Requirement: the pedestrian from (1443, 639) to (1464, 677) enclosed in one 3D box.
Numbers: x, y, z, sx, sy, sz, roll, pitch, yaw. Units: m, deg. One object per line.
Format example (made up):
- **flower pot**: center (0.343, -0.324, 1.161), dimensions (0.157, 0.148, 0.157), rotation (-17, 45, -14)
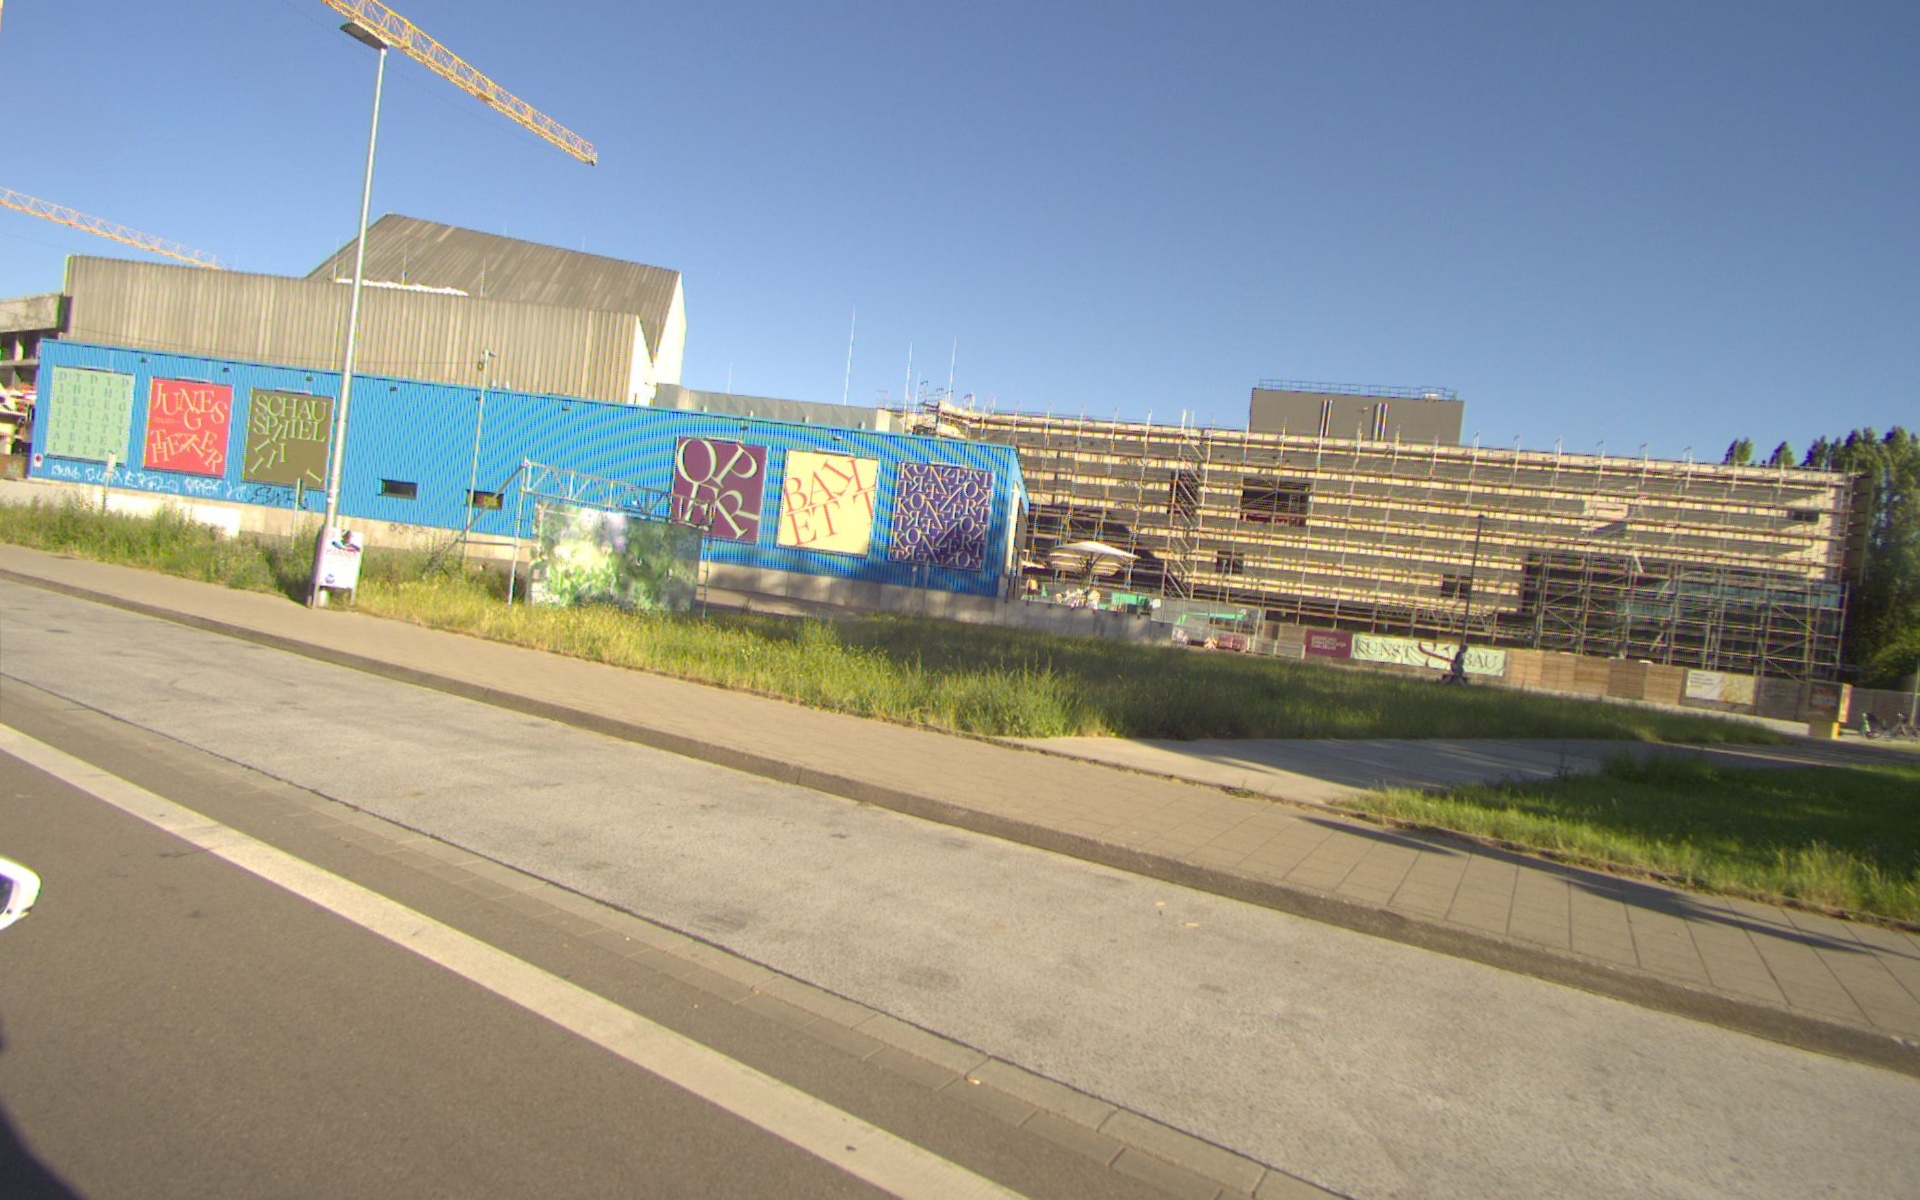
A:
- **pedestrian**: center (17.947, 2.109, 36.588), dimensions (0.433, 1.310, 0.574), rotation (6, -2, 7)
